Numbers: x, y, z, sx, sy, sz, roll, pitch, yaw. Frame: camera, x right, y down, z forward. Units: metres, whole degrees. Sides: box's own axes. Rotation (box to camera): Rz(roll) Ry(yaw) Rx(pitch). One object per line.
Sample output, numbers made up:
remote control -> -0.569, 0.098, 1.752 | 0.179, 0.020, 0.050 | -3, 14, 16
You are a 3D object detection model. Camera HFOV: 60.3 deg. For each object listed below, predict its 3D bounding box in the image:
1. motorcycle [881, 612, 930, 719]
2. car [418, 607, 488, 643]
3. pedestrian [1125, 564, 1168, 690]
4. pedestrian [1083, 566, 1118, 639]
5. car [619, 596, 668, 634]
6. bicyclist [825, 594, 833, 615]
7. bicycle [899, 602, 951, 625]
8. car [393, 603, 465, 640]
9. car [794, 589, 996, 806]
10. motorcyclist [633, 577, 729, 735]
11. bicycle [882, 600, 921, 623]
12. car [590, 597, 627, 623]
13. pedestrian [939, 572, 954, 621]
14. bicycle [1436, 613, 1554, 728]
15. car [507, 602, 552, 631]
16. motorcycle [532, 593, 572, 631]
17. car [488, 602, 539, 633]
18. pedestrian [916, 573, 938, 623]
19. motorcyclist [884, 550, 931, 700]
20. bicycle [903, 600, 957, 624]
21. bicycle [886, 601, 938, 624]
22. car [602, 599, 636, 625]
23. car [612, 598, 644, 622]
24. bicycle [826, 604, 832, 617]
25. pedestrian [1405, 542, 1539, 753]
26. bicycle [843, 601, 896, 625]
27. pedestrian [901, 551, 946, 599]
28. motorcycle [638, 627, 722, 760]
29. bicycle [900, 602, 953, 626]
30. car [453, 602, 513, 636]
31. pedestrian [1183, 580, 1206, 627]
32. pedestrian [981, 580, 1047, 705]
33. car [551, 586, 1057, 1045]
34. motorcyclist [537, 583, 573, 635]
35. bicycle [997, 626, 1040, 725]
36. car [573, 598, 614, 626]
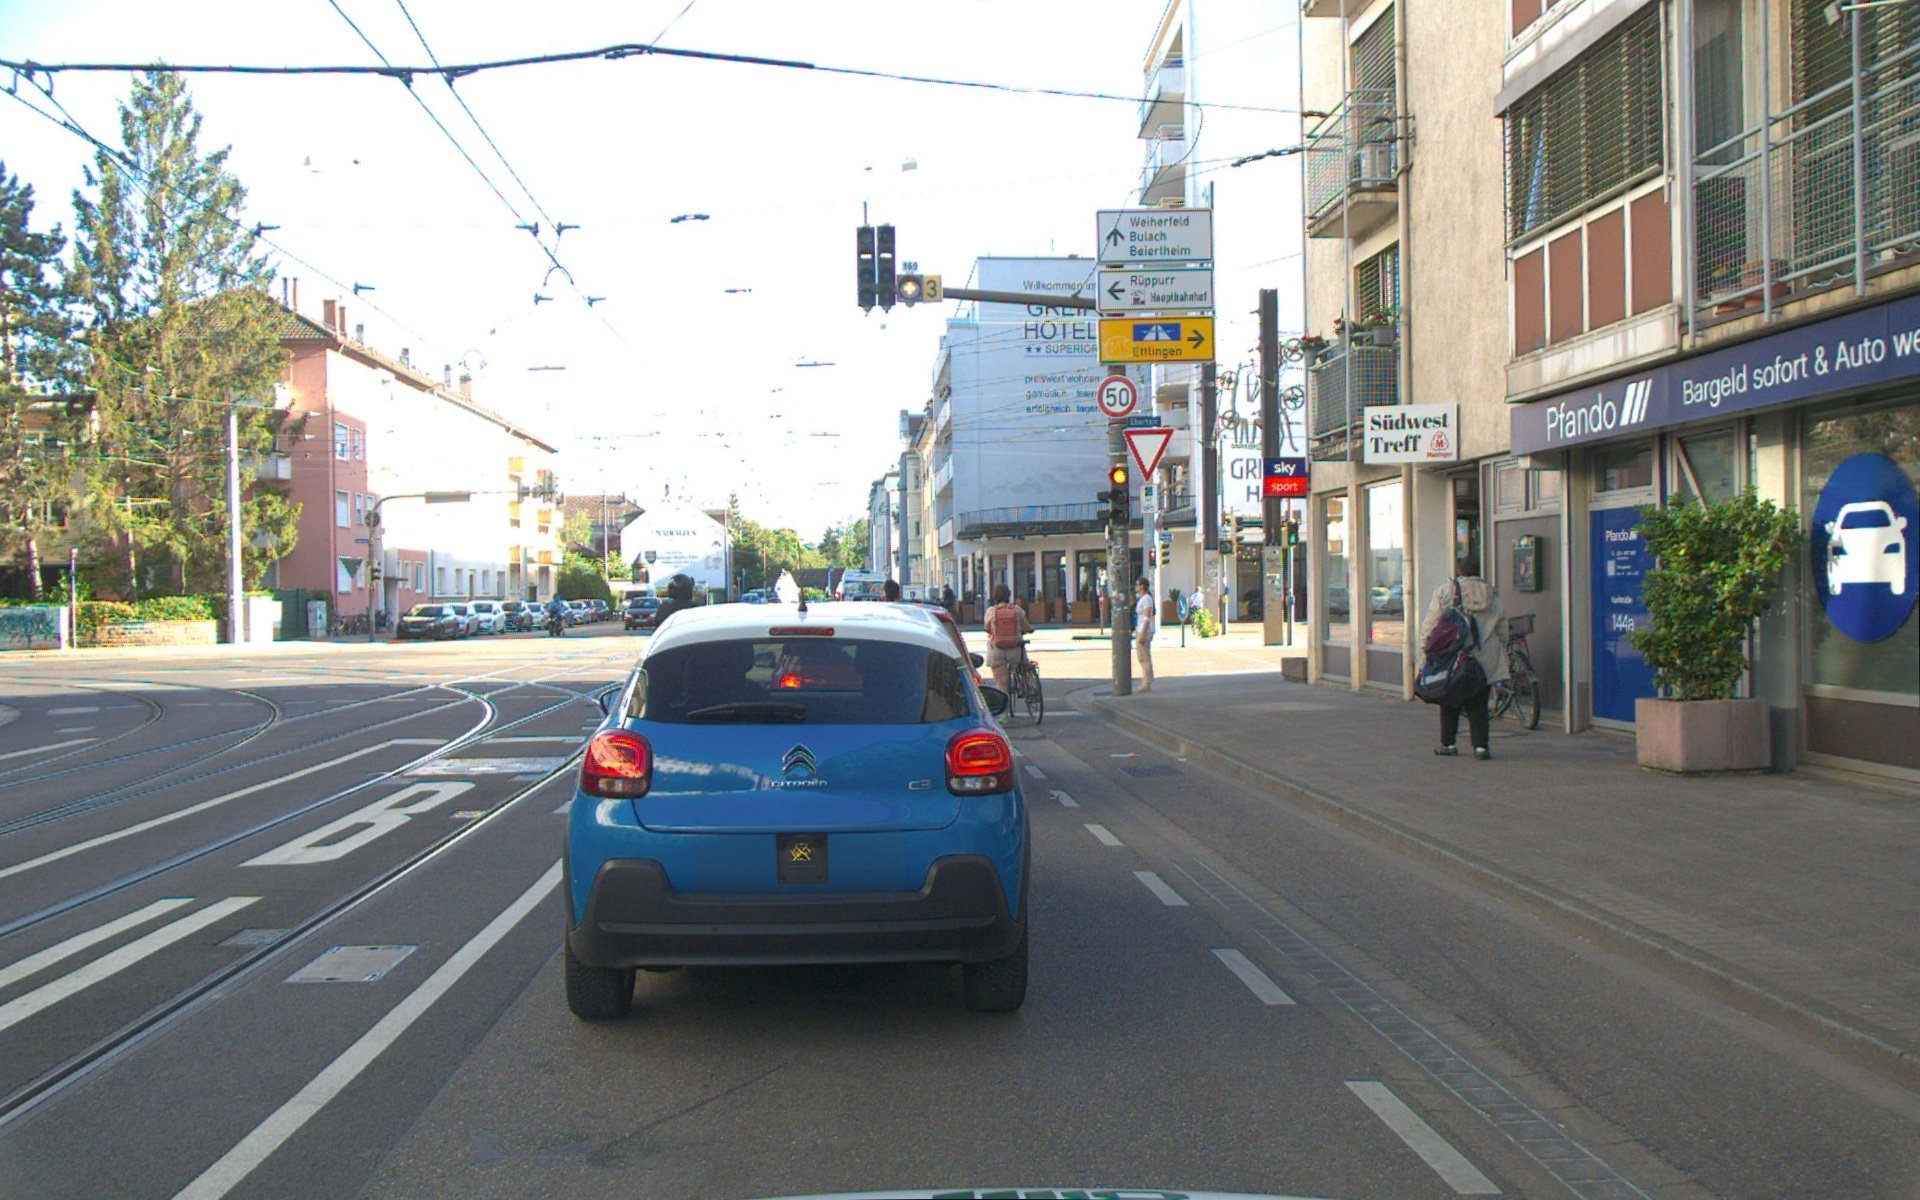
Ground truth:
motorcycle -> -0.620, 0.734, 19.416 | 0.515, 1.159, 2.289 | 1, 0, -1
car -> -22.410, 1.086, 73.255 | 1.778, 1.524, 4.299 | 1, 0, -1
pedestrian -> 2.735, 0.397, 24.294 | 0.507, 1.814, 0.595 | 1, -1, -3
pedestrian -> 3.992, 0.070, 46.993 | 0.907, 2.049, 0.759 | 1, -1, -1
car -> -14.550, 0.687, 76.158 | 1.740, 1.695, 3.853 | 1, 0, -4
bicyclist -> -9.104, 0.315, 115.076 | 0.550, 1.503, 0.747 | 1, -1, -3
bicycle -> -1.419, 0.557, 67.379 | 2.093, 0.917, 0.366 | 1, -1, -10
car -> -21.945, 0.877, 68.484 | 1.757, 1.446, 3.994 | 1, 0, -2
car -> -0.477, 0.693, 13.073 | 1.395, 1.493, 2.923 | -1, 0, -1
motorcyclist -> -2.778, 0.552, 16.529 | 0.843, 1.531, 0.598 | 1, -1, -1
bicycle -> -2.444, 0.485, 69.253 | 1.751, 0.917, 0.365 | 1, -1, 34
car -> -23.578, 0.676, 110.942 | 1.845, 1.716, 3.997 | 1, 0, -4
pedestrian -> -0.586, -0.159, 70.330 | 0.565, 2.049, 0.625 | 1, -1, -3
bicycle -> 5.047, 0.641, 15.701 | 0.531, 1.016, 1.705 | 1, 0, -1
car -> -23.842, 0.913, 91.737 | 1.699, 1.524, 3.996 | 1, 0, -5
motorcycle -> -16.454, 0.476, 66.756 | 0.905, 1.512, 3.723 | 1, 0, -4
car -> -23.108, 0.905, 85.719 | 1.750, 1.524, 3.997 | 1, 0, -4
pedestrian -> -1.384, -0.081, 69.179 | 0.625, 2.049, 0.715 | 1, -1, -37
motorcyclist -> -0.612, 0.292, 19.606 | 0.516, 1.746, 0.717 | 1, -1, -1
bicycle -> -1.187, 0.479, 65.910 | 2.093, 0.917, 0.366 | 1, -1, -10
bicycle -> -1.973, 0.501, 68.328 | 2.093, 0.917, 0.366 | 1, -1, -10
car -> -23.926, 0.826, 116.272 | 1.797, 1.716, 3.997 | 1, 0, -4
car -> -24.245, 0.706, 120.937 | 1.809, 1.716, 3.871 | 1, 0, -4
bicycle -> -9.125, 0.737, 115.539 | 0.342, 0.919, 1.858 | 1, 0, -2
pedestrian -> 4.070, 0.372, 13.187 | 0.808, 1.620, 0.751 | 1, -1, -1
bicycle -> -3.619, 0.526, 66.253 | 2.093, 0.917, 0.366 | 1, -1, -10
pedestrian -> -1.606, -1.084, 73.524 | 1.953, 2.049, 3.999 | 1, 0, -1
motorcycle -> -2.804, 0.905, 16.713 | 0.526, 1.240, 1.980 | 1, 0, -1
bicycle -> -1.346, 0.568, 66.981 | 2.093, 0.917, 0.366 | 1, -1, -10
car -> -22.695, 0.880, 78.763 | 1.751, 1.537, 4.148 | 1, 0, -2
pedestrian -> 8.186, 0.113, 57.685 | 0.720, 1.629, 0.749 | 1, -1, 12
pedestrian -> 0.656, 0.514, 20.262 | 0.761, 1.486, 0.681 | 1, -1, -1
car -> -0.528, 0.710, 7.143 | 1.620, 1.469, 3.522 | 1, 0, -1
motorcyclist -> -16.417, 0.352, 67.057 | 1.162, 2.049, 1.274 | -1, 0, -4
bicycle -> 0.715, 0.906, 20.536 | 0.419, 1.142, 1.998 | 1, 0, -1
car -> -23.400, 0.737, 105.628 | 1.944, 1.716, 3.997 | 1, 0, -4
